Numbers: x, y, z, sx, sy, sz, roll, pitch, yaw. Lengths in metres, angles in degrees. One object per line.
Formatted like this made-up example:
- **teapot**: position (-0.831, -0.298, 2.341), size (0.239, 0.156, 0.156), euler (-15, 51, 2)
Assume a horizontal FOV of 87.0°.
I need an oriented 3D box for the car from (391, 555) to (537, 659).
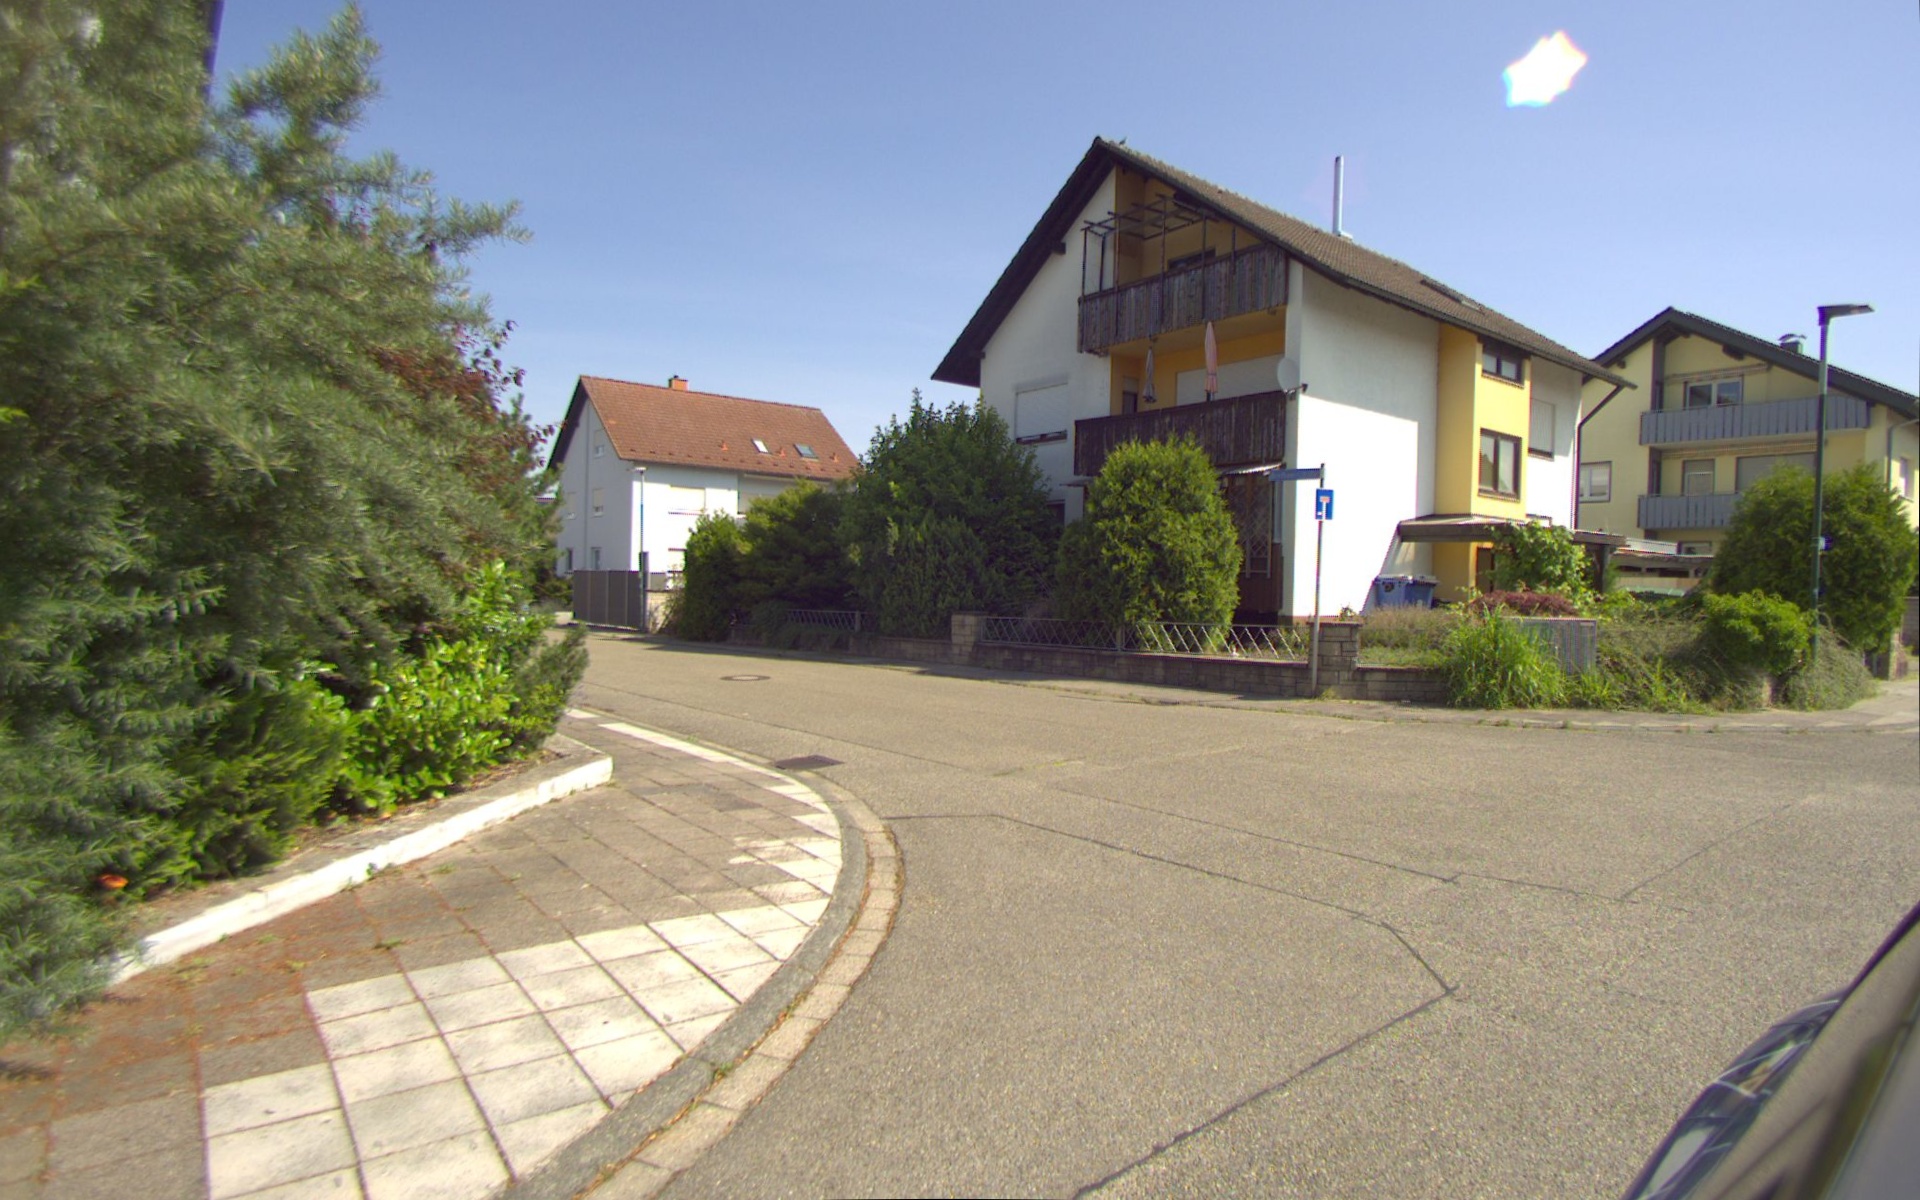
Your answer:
- **car**: position (-10.295, 0.050, 20.821), size (1.872, 1.893, 4.370), euler (0, 2, -37)
